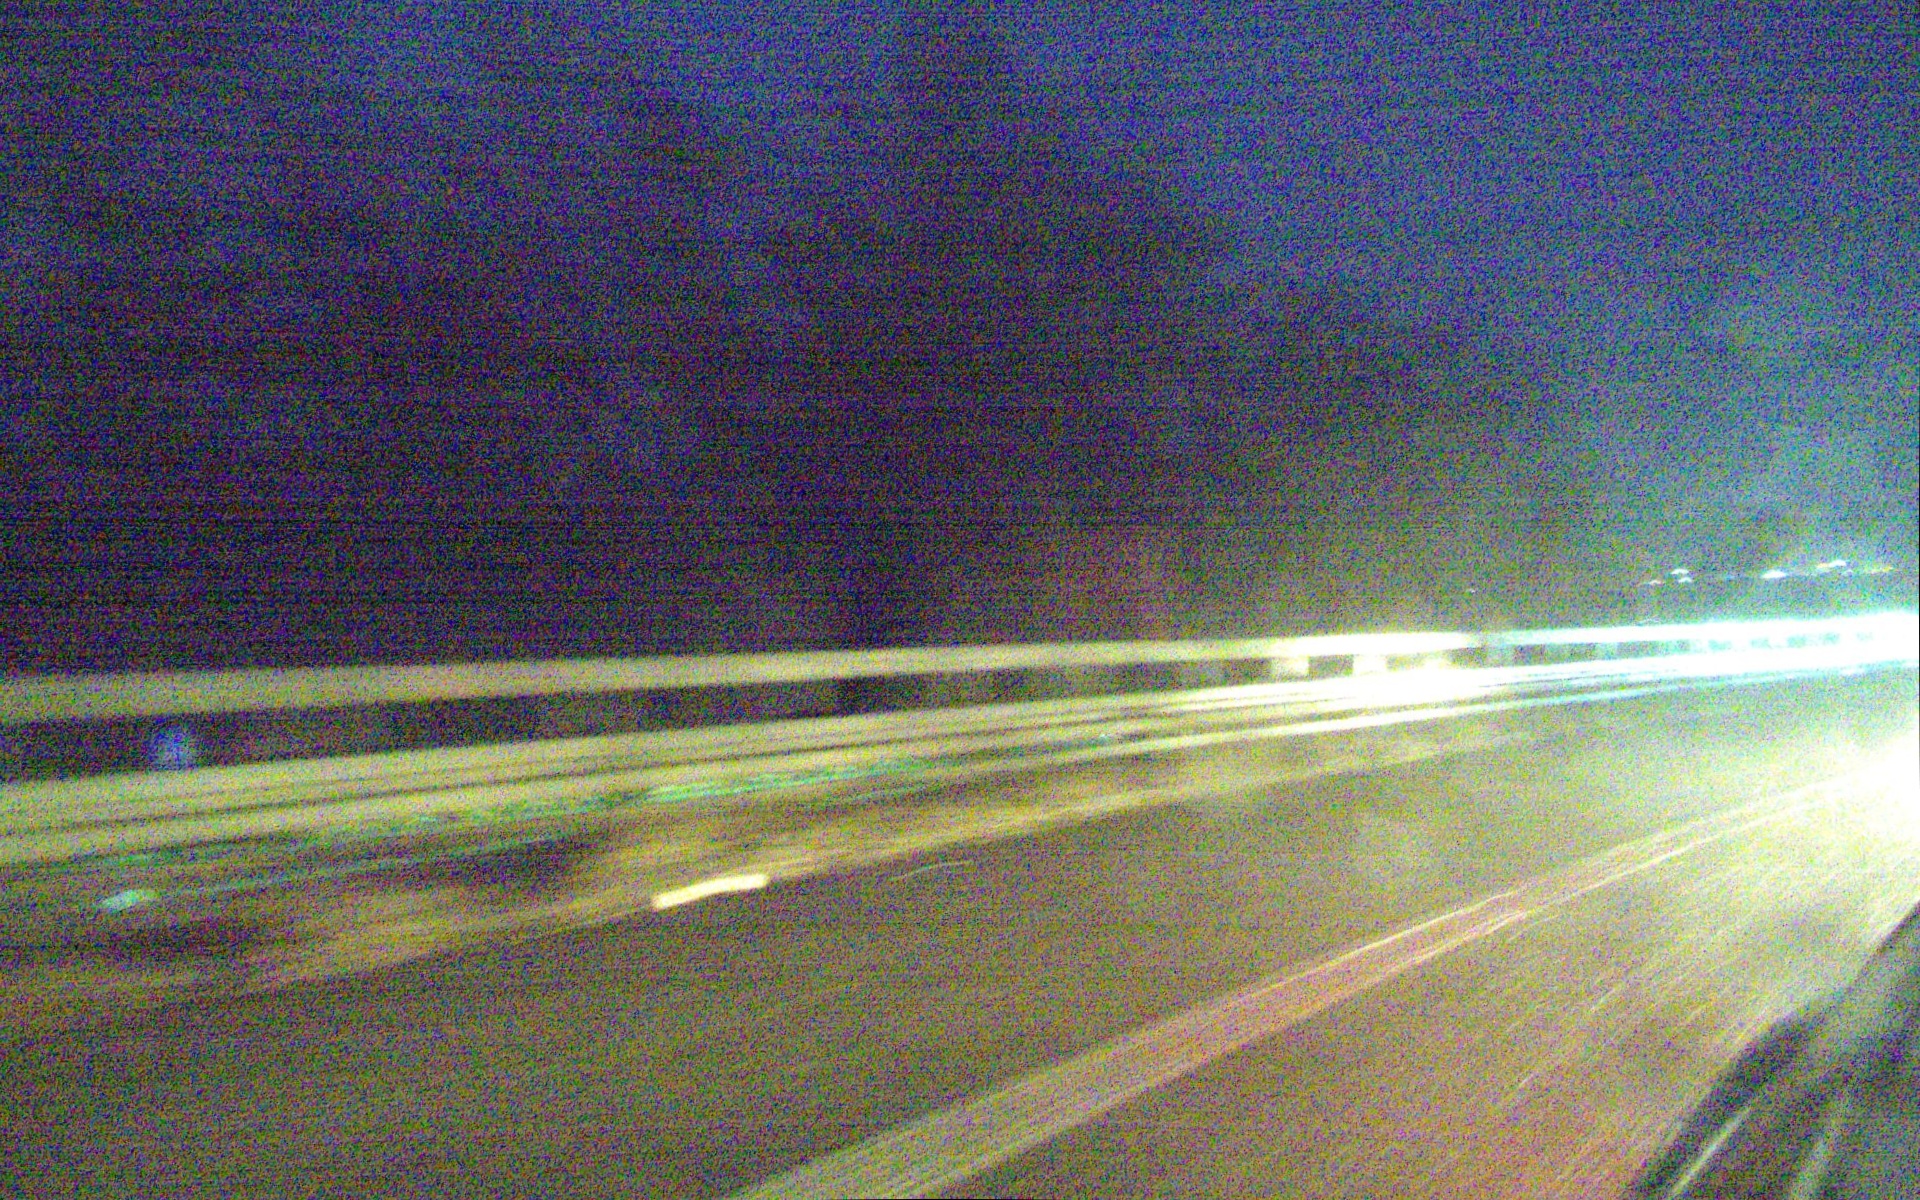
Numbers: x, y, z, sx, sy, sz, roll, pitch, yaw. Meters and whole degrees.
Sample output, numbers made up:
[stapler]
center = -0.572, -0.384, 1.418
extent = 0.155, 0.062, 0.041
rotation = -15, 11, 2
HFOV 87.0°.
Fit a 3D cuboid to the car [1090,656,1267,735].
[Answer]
[car]
center = 5.650, 2.460, 26.437
extent = 4.037, 1.706, 1.743
rotation = -3, -3, -8
